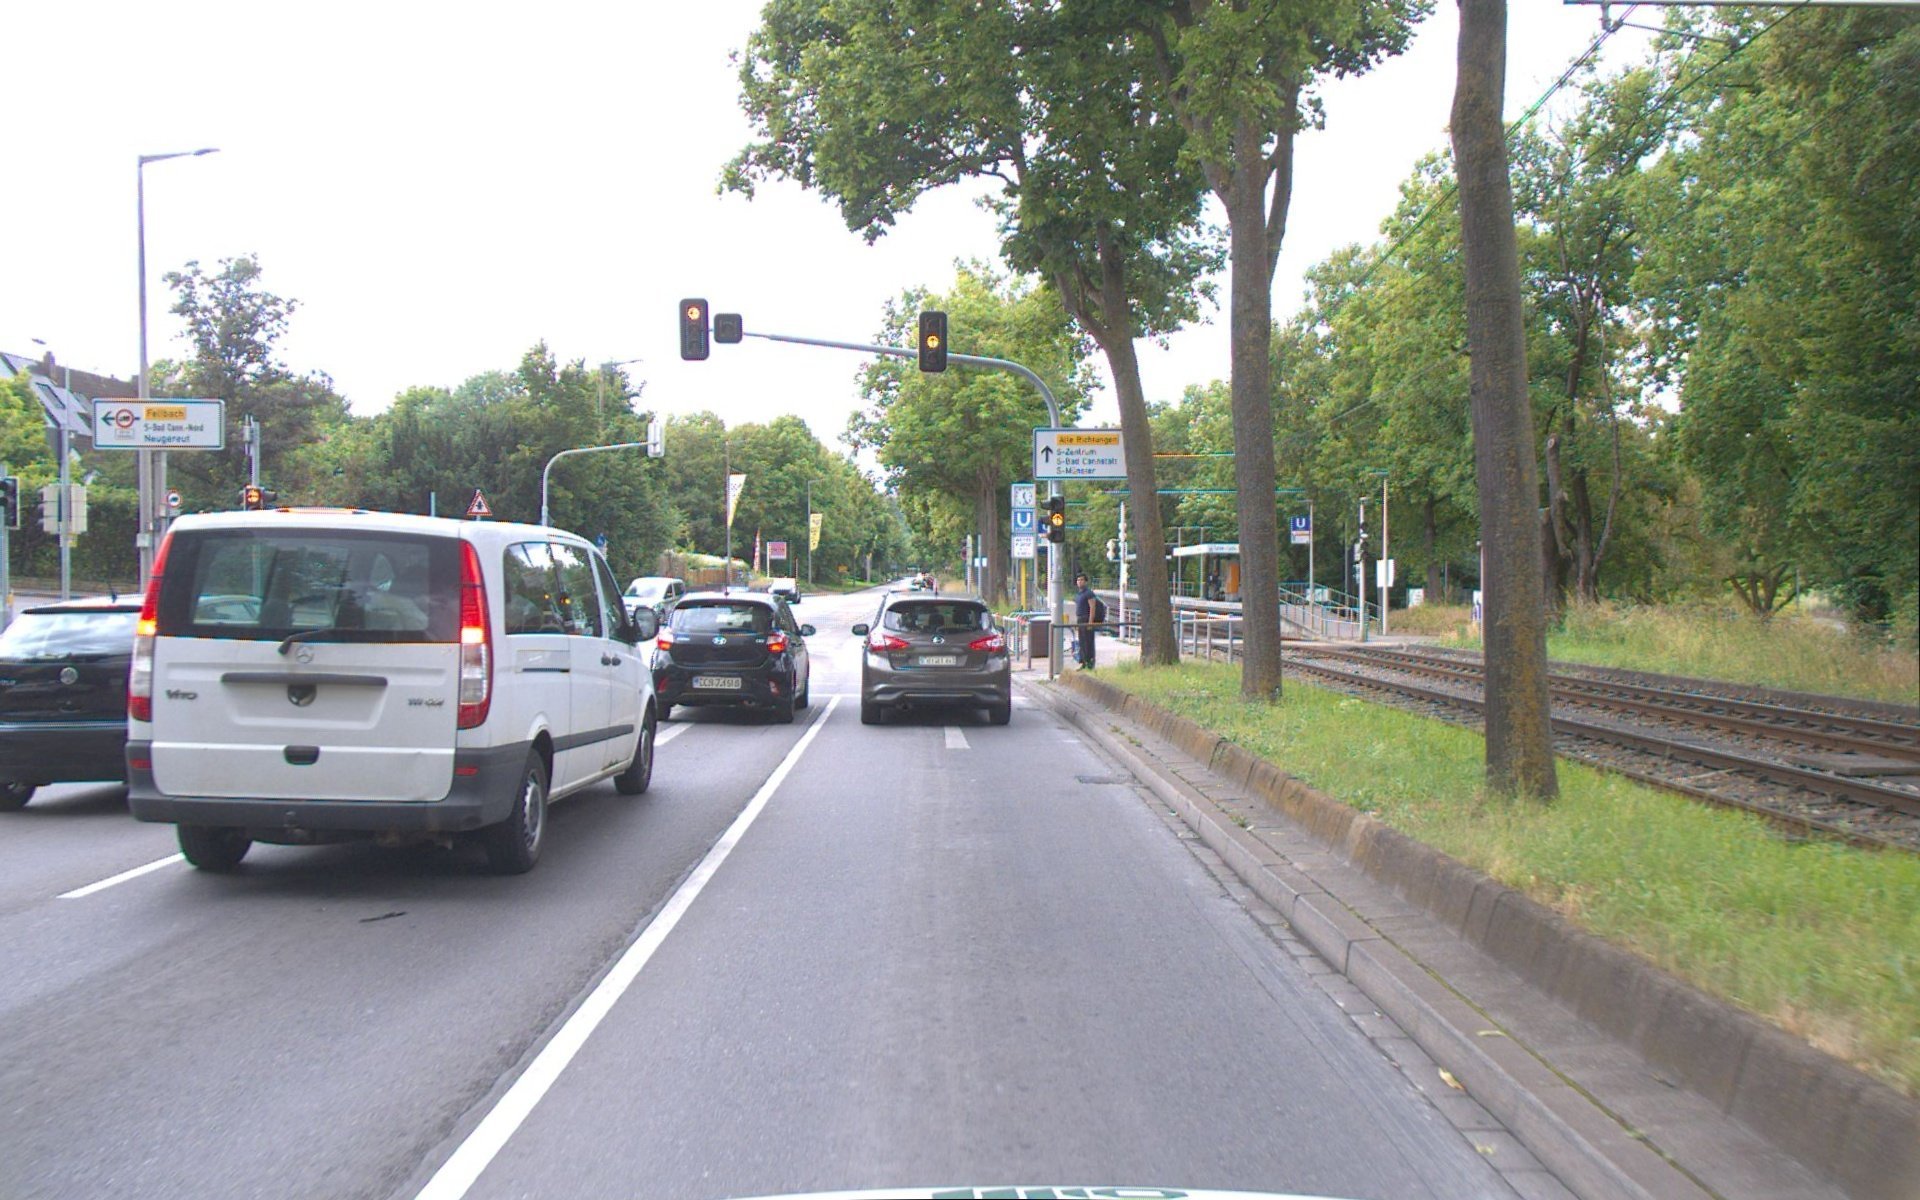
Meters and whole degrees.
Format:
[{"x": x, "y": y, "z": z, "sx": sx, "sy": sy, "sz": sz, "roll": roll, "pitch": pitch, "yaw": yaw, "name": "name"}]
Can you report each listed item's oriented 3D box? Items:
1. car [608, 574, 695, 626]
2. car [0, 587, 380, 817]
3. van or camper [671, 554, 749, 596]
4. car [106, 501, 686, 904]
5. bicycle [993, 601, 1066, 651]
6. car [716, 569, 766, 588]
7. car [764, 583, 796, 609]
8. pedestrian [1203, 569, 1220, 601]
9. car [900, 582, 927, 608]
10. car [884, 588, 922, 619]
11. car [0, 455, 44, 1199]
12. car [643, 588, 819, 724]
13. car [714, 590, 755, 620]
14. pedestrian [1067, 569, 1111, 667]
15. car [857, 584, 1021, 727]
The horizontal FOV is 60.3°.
[{"x": -12.029, "y": 0.000, "z": 64.806, "sx": 1.901, "sy": 1.906, "sz": 4.545, "roll": 1, "pitch": 0, "yaw": 9, "name": "car"}, {"x": -5.861, "y": 0.651, "z": 12.664, "sx": 1.524, "sy": 1.492, "sz": 3.807, "roll": 0, "pitch": 0, "yaw": -1, "name": "car"}, {"x": -24.681, "y": -2.509, "z": 163.495, "sx": 6.999, "sy": 3.428, "sz": 2.796, "roll": 6, "pitch": 0, "yaw": -1, "name": "van or camper"}, {"x": -3.078, "y": 0.471, "z": 10.391, "sx": 1.868, "sy": 1.875, "sz": 5.281, "roll": 1, "pitch": 0, "yaw": -1, "name": "car"}, {"x": 1.648, "y": 0.611, "z": 39.235, "sx": 1.641, "sy": 1.109, "sz": 0.601, "roll": -3, "pitch": 0, "yaw": -5, "name": "bicycle"}, {"x": -19.004, "y": -1.845, "z": 143.599, "sx": 3.903, "sy": 1.523, "sz": 1.860, "roll": 2, "pitch": 0, "yaw": 4, "name": "car"}, {"x": -12.349, "y": -0.264, "z": 113.442, "sx": 1.864, "sy": 1.708, "sz": 5.078, "roll": 1, "pitch": 0, "yaw": -3, "name": "car"}, {"x": 12.443, "y": -0.722, "z": 81.852, "sx": 0.703, "sy": 1.537, "sz": 0.724, "roll": 2, "pitch": 0, "yaw": 2, "name": "pedestrian"}, {"x": -2.823, "y": -0.300, "z": 101.290, "sx": 1.472, "sy": 1.555, "sz": 3.672, "roll": 1, "pitch": 0, "yaw": 1, "name": "car"}, {"x": -2.856, "y": 0.166, "z": 83.575, "sx": 1.675, "sy": 1.501, "sz": 3.672, "roll": 1, "pitch": 0, "yaw": 1, "name": "car"}, {"x": -2.907, "y": 0.556, "z": 1.549, "sx": 1.715, "sy": 1.748, "sz": 4.333, "roll": 0, "pitch": 0, "yaw": -1, "name": "car"}, {"x": -2.712, "y": 0.618, "z": 20.266, "sx": 1.669, "sy": 1.506, "sz": 3.667, "roll": 1, "pitch": 0, "yaw": -1, "name": "car"}, {"x": -12.003, "y": 0.276, "z": 88.173, "sx": 1.707, "sy": 1.490, "sz": 4.340, "roll": 2, "pitch": 0, "yaw": -3, "name": "car"}, {"x": 2.369, "y": 0.327, "z": 30.456, "sx": 0.736, "sy": 1.768, "sz": 0.840, "roll": -2, "pitch": 0, "yaw": 4, "name": "pedestrian"}, {"x": -0.201, "y": 0.612, "z": 20.396, "sx": 1.799, "sy": 1.555, "sz": 3.929, "roll": 1, "pitch": 0, "yaw": 1, "name": "car"}]
